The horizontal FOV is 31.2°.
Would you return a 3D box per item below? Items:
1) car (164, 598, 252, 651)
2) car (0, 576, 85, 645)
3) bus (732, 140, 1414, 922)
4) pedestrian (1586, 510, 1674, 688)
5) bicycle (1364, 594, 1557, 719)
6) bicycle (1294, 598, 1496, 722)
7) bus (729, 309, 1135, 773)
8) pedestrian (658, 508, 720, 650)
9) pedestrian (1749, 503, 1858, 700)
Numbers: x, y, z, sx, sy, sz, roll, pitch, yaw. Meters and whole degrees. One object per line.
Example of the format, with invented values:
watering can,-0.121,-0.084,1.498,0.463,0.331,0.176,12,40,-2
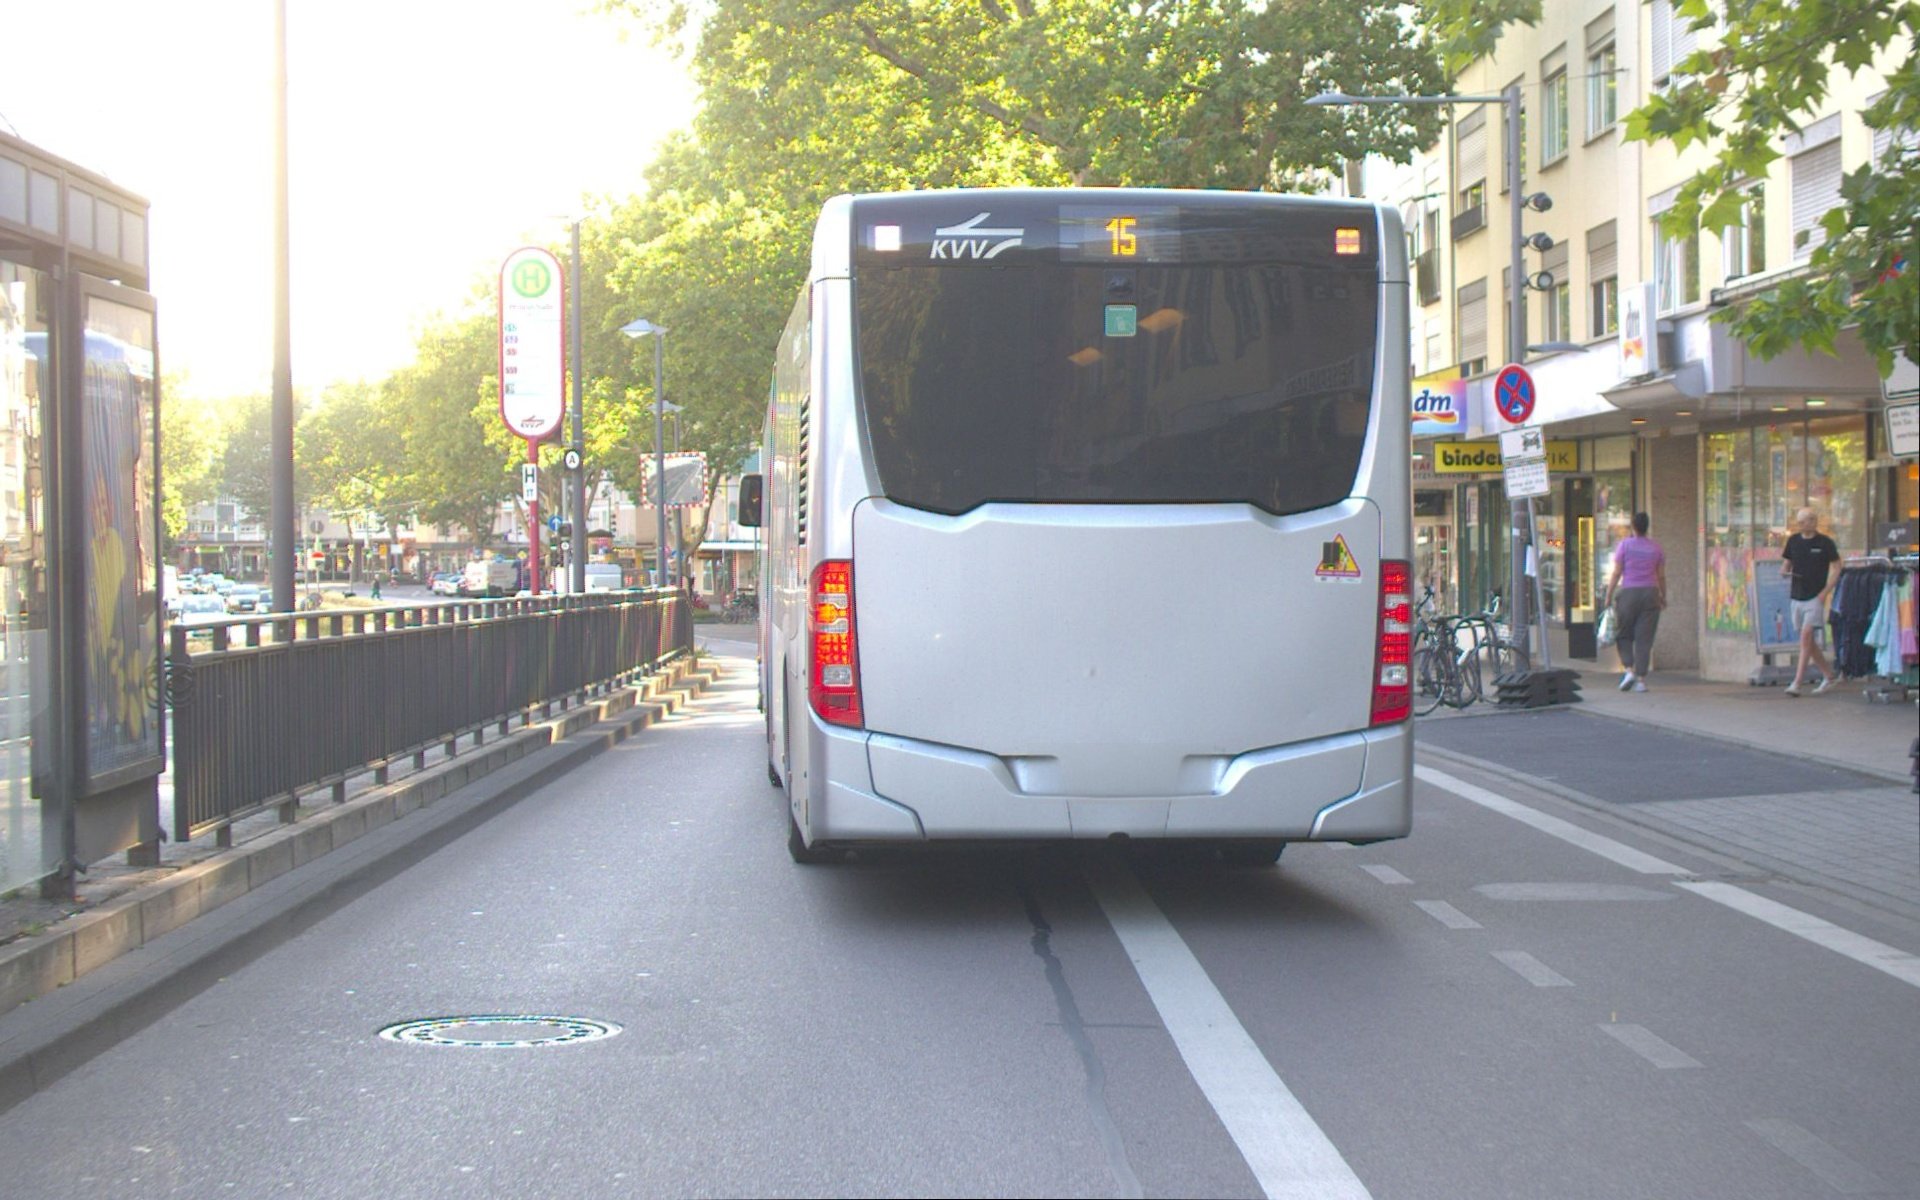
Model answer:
car,-24.344,0.778,111.419,1.993,1.645,4.000,-1,0,-1
car,-23.099,0.244,84.904,1.993,1.645,4.000,-1,0,-1
bus,0.150,-0.328,18.432,2.696,3.107,9.383,0,1,-4
pedestrian,6.845,-0.012,35.169,0.723,1.789,0.766,-1,0,-1
bicycle,4.909,0.545,33.720,1.703,1.073,0.592,-5,1,-17
bicycle,4.372,0.595,34.621,1.887,1.073,0.754,-5,1,3
bus,-0.488,-0.450,27.643,2.696,3.107,9.071,0,1,-4
pedestrian,-4.904,-0.384,62.321,0.889,2.538,1.163,-1,0,6
pedestrian,7.942,0.008,32.398,0.723,1.789,0.766,-4,0,-1
